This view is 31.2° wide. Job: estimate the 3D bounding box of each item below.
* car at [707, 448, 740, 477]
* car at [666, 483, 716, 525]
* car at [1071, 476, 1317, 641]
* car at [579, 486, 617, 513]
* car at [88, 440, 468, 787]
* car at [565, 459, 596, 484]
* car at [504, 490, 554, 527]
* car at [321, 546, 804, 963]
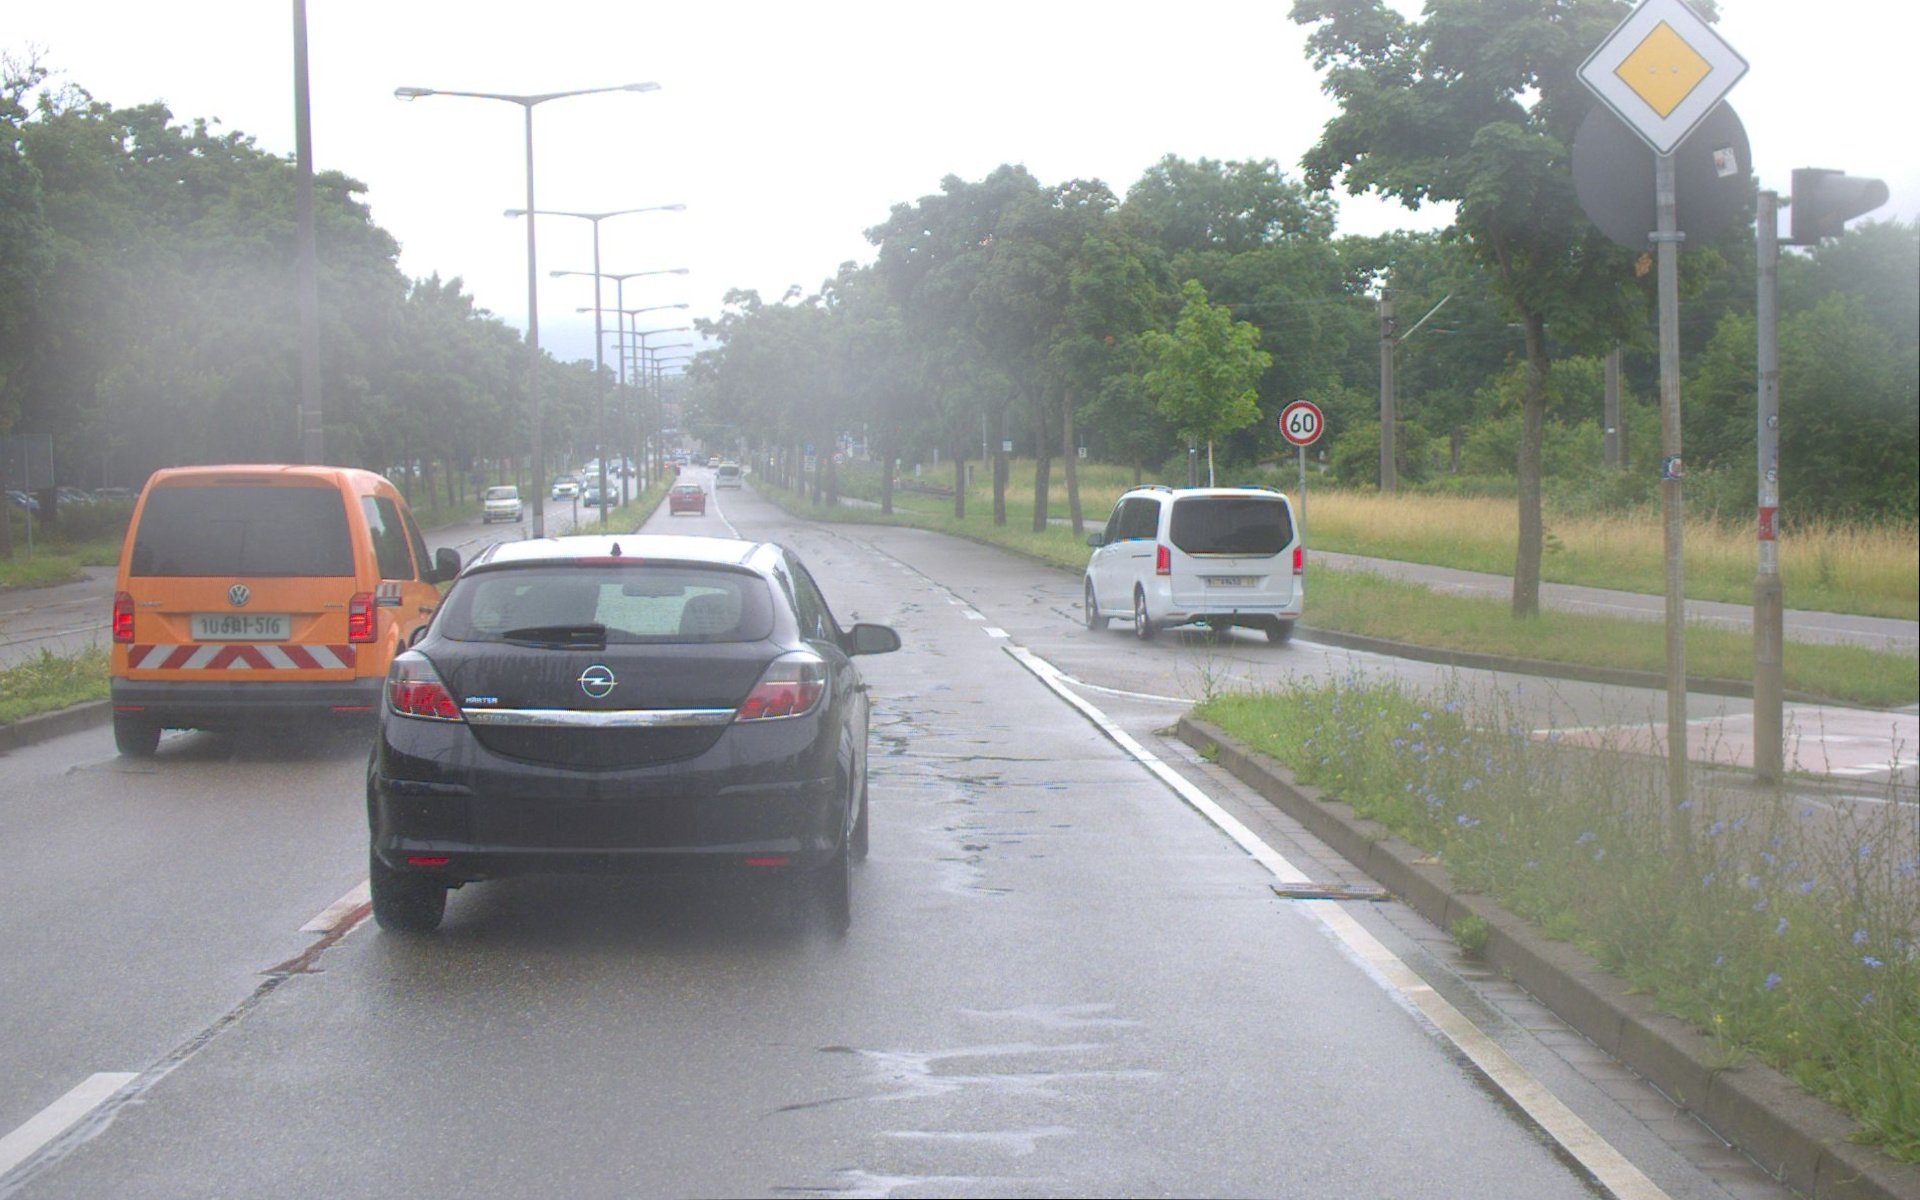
[{"bbox_3d":[-17.937,-10.416,260.839,2.516,2.045,5.294,0,1,-4],"label":"car"},{"bbox_3d":[-12.392,-4.418,158.763,1.993,1.873,4.000,0,1,0],"label":"car"},{"bbox_3d":[2.871,-0.544,43.356,2.058,1.968,4.610,0,1,-10],"label":"car"},{"bbox_3d":[-19.512,-5.440,185.476,1.827,1.445,3.810,-1,2,-3],"label":"car"},{"bbox_3d":[-4.363,0.014,22.688,1.734,2.012,4.850,1,2,-3],"label":"car"},{"bbox_3d":[-23.886,-8.097,216.478,1.720,1.524,3.810,-1,3,-3],"label":"car"},{"bbox_3d":[-18.461,-3.916,147.360,1.683,1.548,4.001,1,1,-1],"label":"car"},{"bbox_3d":[-1.419,0.490,13.396,1.463,1.324,3.758,0,2,0],"label":"car"}]
